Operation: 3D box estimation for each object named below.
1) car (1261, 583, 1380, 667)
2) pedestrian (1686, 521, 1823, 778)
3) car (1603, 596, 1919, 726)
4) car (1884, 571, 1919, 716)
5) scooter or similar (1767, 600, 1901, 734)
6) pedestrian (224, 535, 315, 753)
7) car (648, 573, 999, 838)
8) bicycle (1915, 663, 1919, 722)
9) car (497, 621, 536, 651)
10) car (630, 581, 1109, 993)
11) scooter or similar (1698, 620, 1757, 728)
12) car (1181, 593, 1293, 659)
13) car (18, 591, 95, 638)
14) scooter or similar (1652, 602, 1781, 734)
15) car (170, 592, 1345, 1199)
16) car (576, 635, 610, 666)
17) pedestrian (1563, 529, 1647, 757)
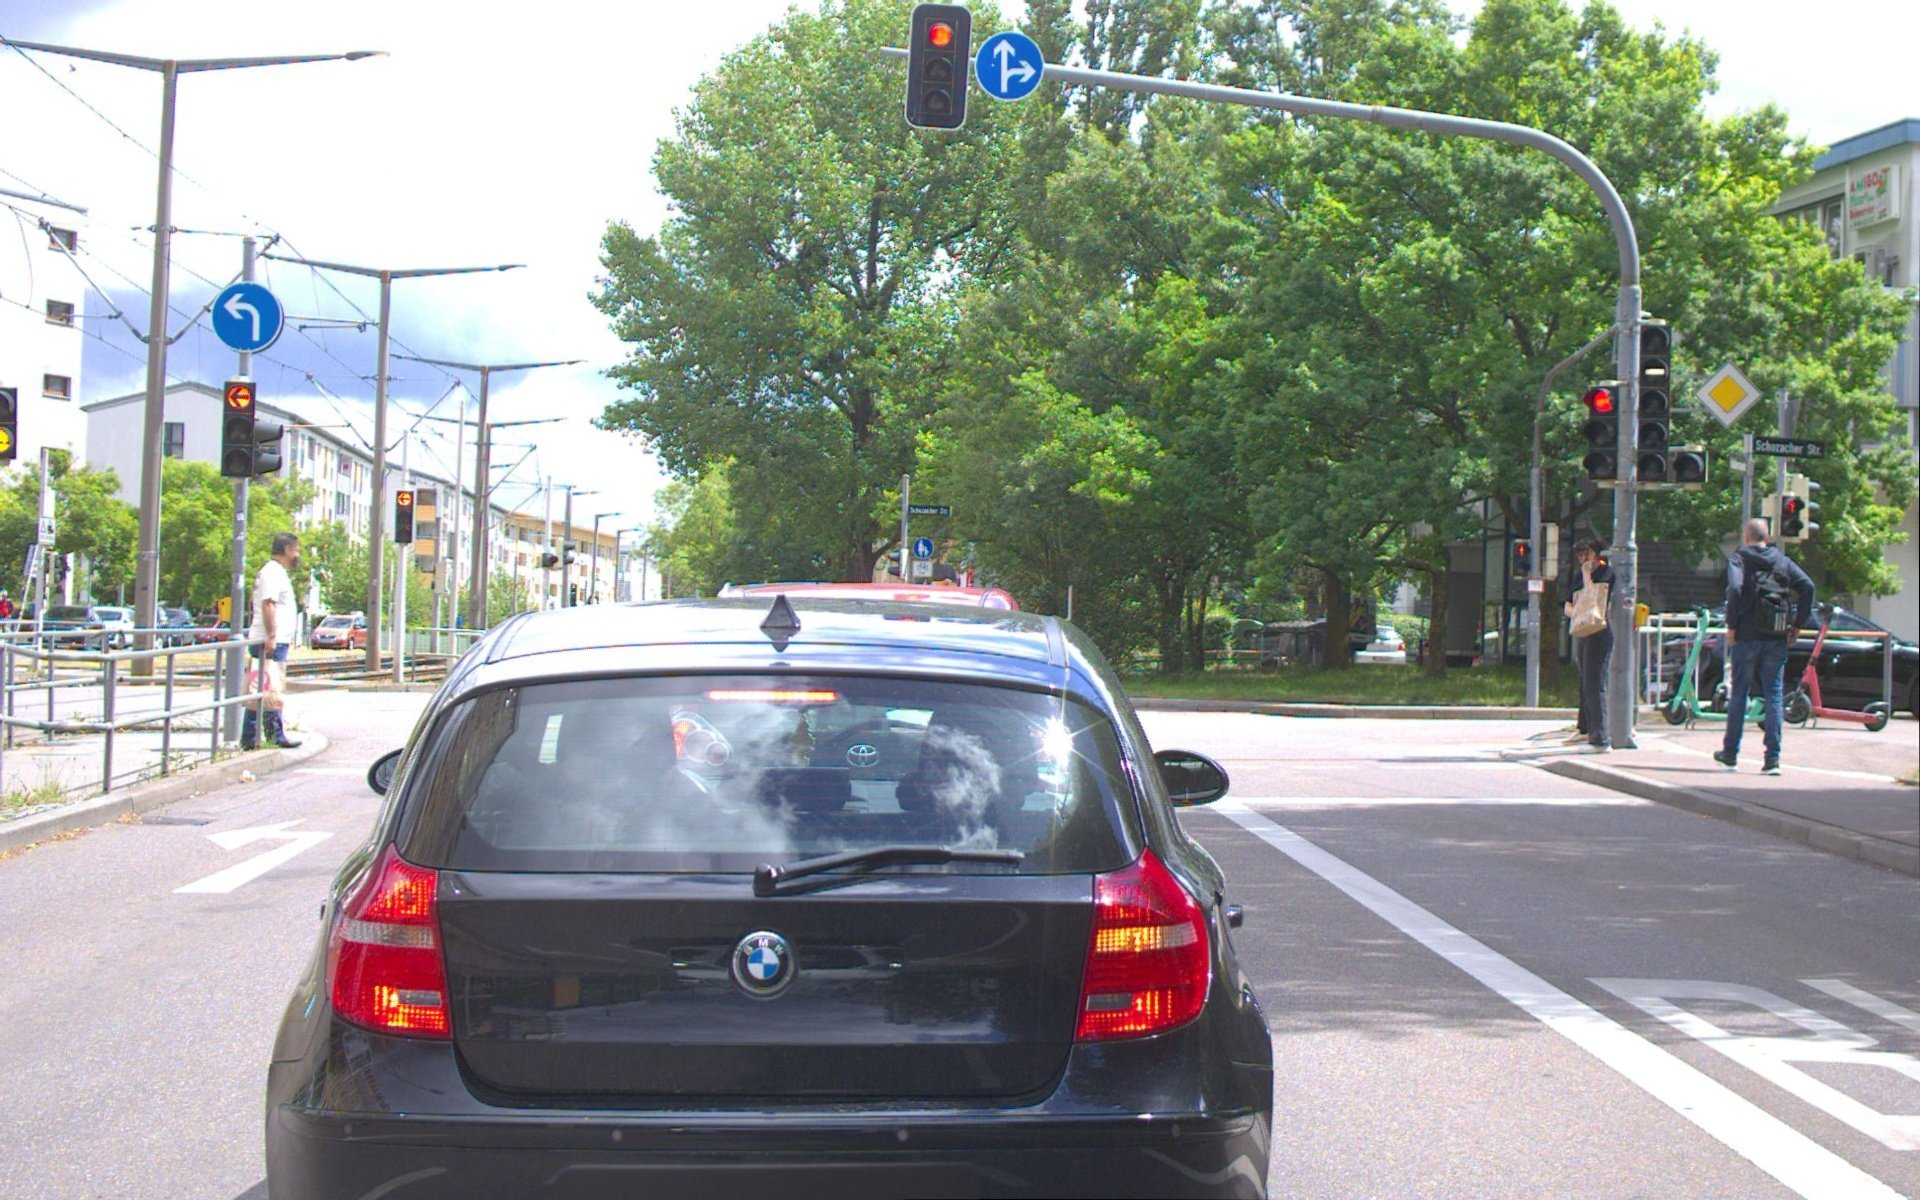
[{"bbox_3d":[8.332,0.548,79.758,1.726,1.865,4.001,1,0,-9],"label":"car"},{"bbox_3d":[5.925,0.361,25.679,0.795,1.870,1.013,1,0,2],"label":"pedestrian"},{"bbox_3d":[9.975,0.721,41.431,3.986,1.481,1.848,1,0,-7],"label":"car"},{"bbox_3d":[15.557,0.615,48.306,4.534,2.007,2.000,0,0,-8],"label":"car"},{"bbox_3d":[8.608,0.654,33.884,1.150,1.268,0.555,2,0,2],"label":"scooter or similar"},{"bbox_3d":[-5.556,0.351,27.638,0.687,1.728,0.688,1,0,-13],"label":"pedestrian"},{"bbox_3d":[-0.773,0.561,21.101,1.900,1.417,4.539,1,0,-1],"label":"car"},{"bbox_3d":[10.835,0.981,35.943,1.586,0.608,0.534,1,0,11],"label":"bicycle"},{"bbox_3d":[-22.205,1.790,172.181,1.794,1.405,4.001,1,0,-5],"label":"car"},{"bbox_3d":[-0.332,0.639,13.631,1.638,1.395,3.420,1,0,-1],"label":"car"},{"bbox_3d":[7.797,0.740,34.899,0.548,1.060,1.261,1,0,13],"label":"scooter or similar"},{"bbox_3d":[7.276,0.663,90.683,1.862,1.656,4.001,1,0,-11],"label":"car"},{"bbox_3d":[-29.389,0.463,111.917,1.591,1.469,3.775,1,0,-2],"label":"car"},{"bbox_3d":[7.244,0.647,32.955,1.110,1.231,0.539,1,0,2],"label":"scooter or similar"},{"bbox_3d":[-0.319,0.705,6.728,1.700,1.395,3.420,1,0,-1],"label":"car"},{"bbox_3d":[-19.810,2.719,185.551,1.651,1.529,3.872,1,0,-8],"label":"car"},{"bbox_3d":[5.380,0.353,28.682,0.636,1.870,0.518,1,0,8],"label":"pedestrian"}]
